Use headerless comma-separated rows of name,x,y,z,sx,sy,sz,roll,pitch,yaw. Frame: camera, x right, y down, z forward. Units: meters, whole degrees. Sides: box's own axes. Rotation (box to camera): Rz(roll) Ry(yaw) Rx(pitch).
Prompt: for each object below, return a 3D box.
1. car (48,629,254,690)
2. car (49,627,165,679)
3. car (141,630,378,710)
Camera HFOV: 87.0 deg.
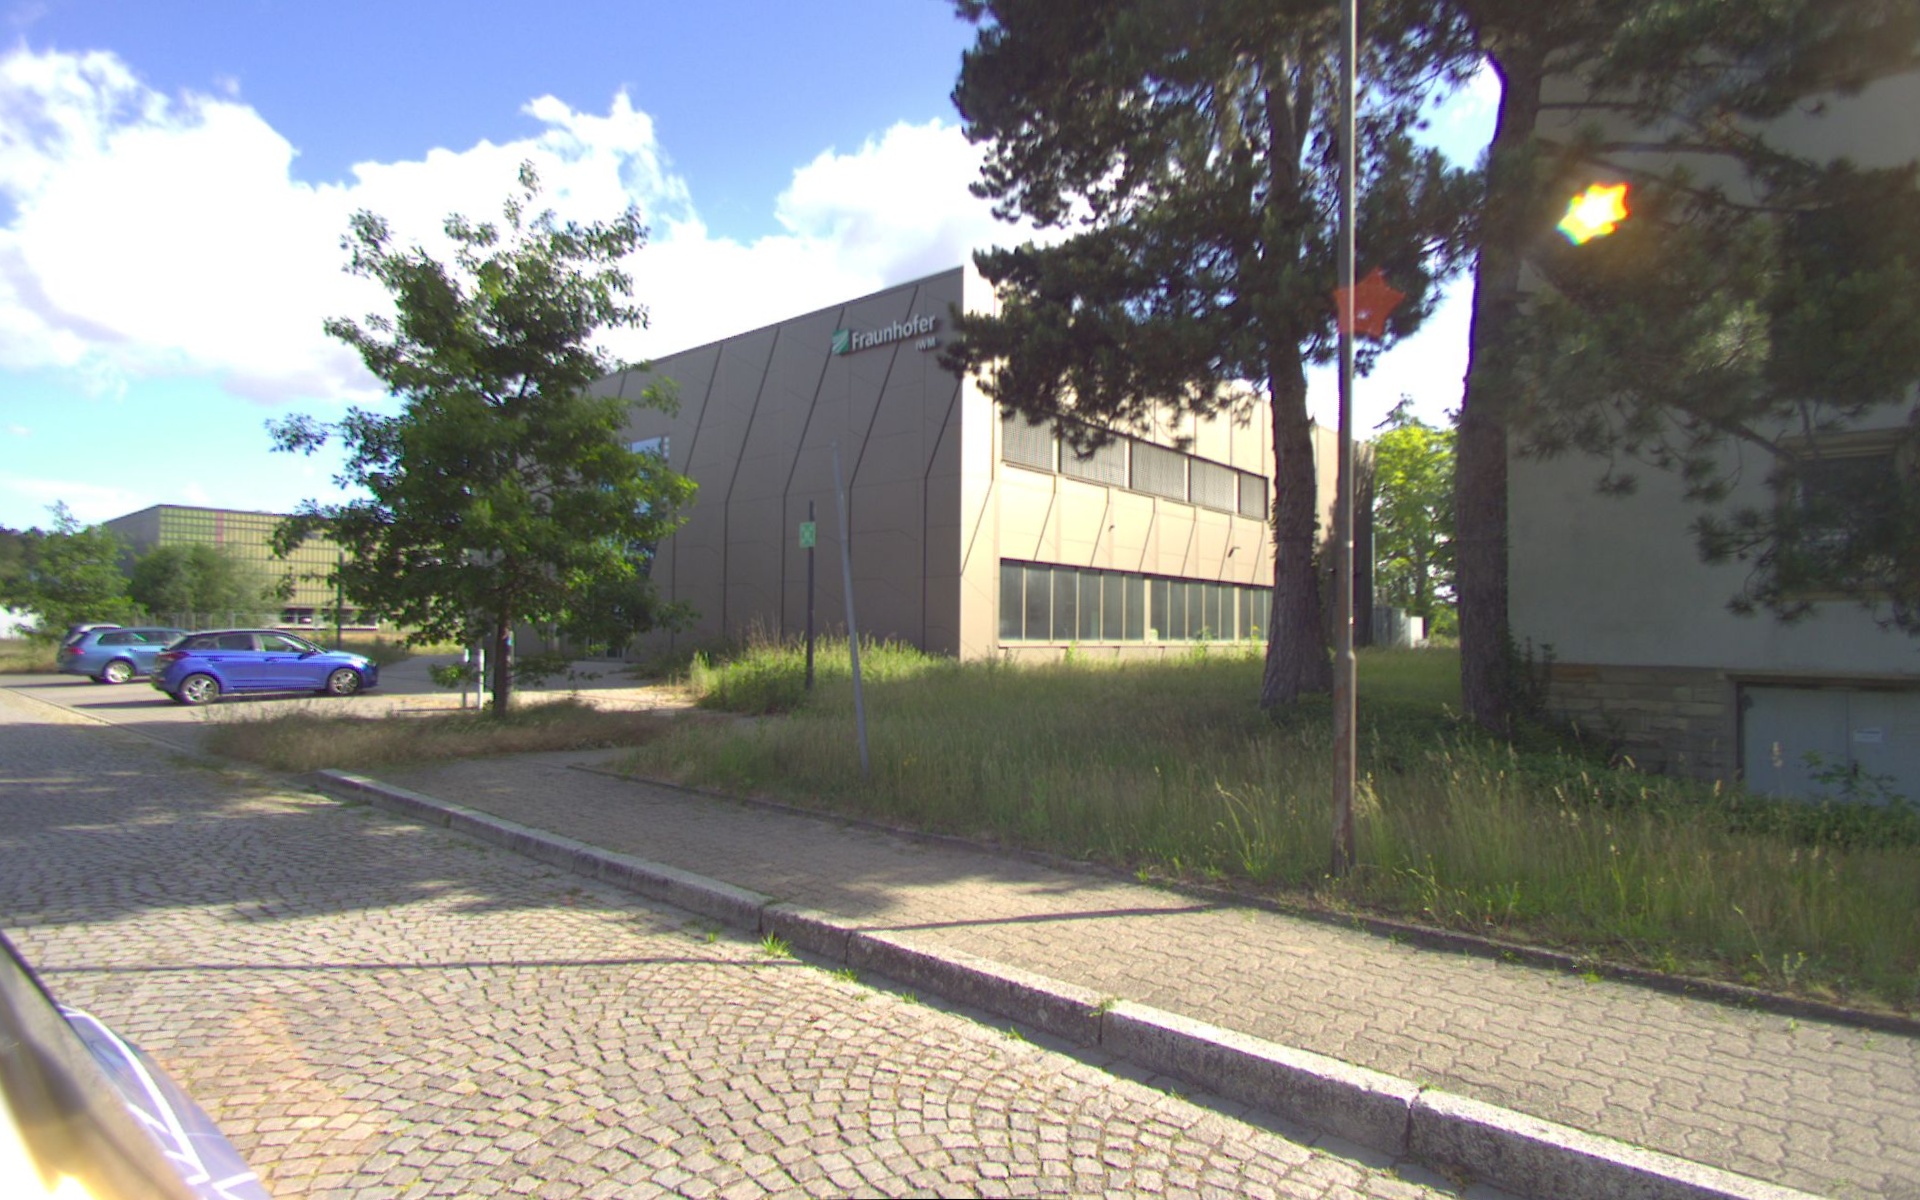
car,-21.965,1.549,27.607,1.732,1.485,4.128,-1,-1,38
car,-27.401,1.656,32.537,1.480,1.580,2.619,-1,-2,39
car,-14.741,1.411,21.439,1.735,1.479,3.866,-1,-2,43
